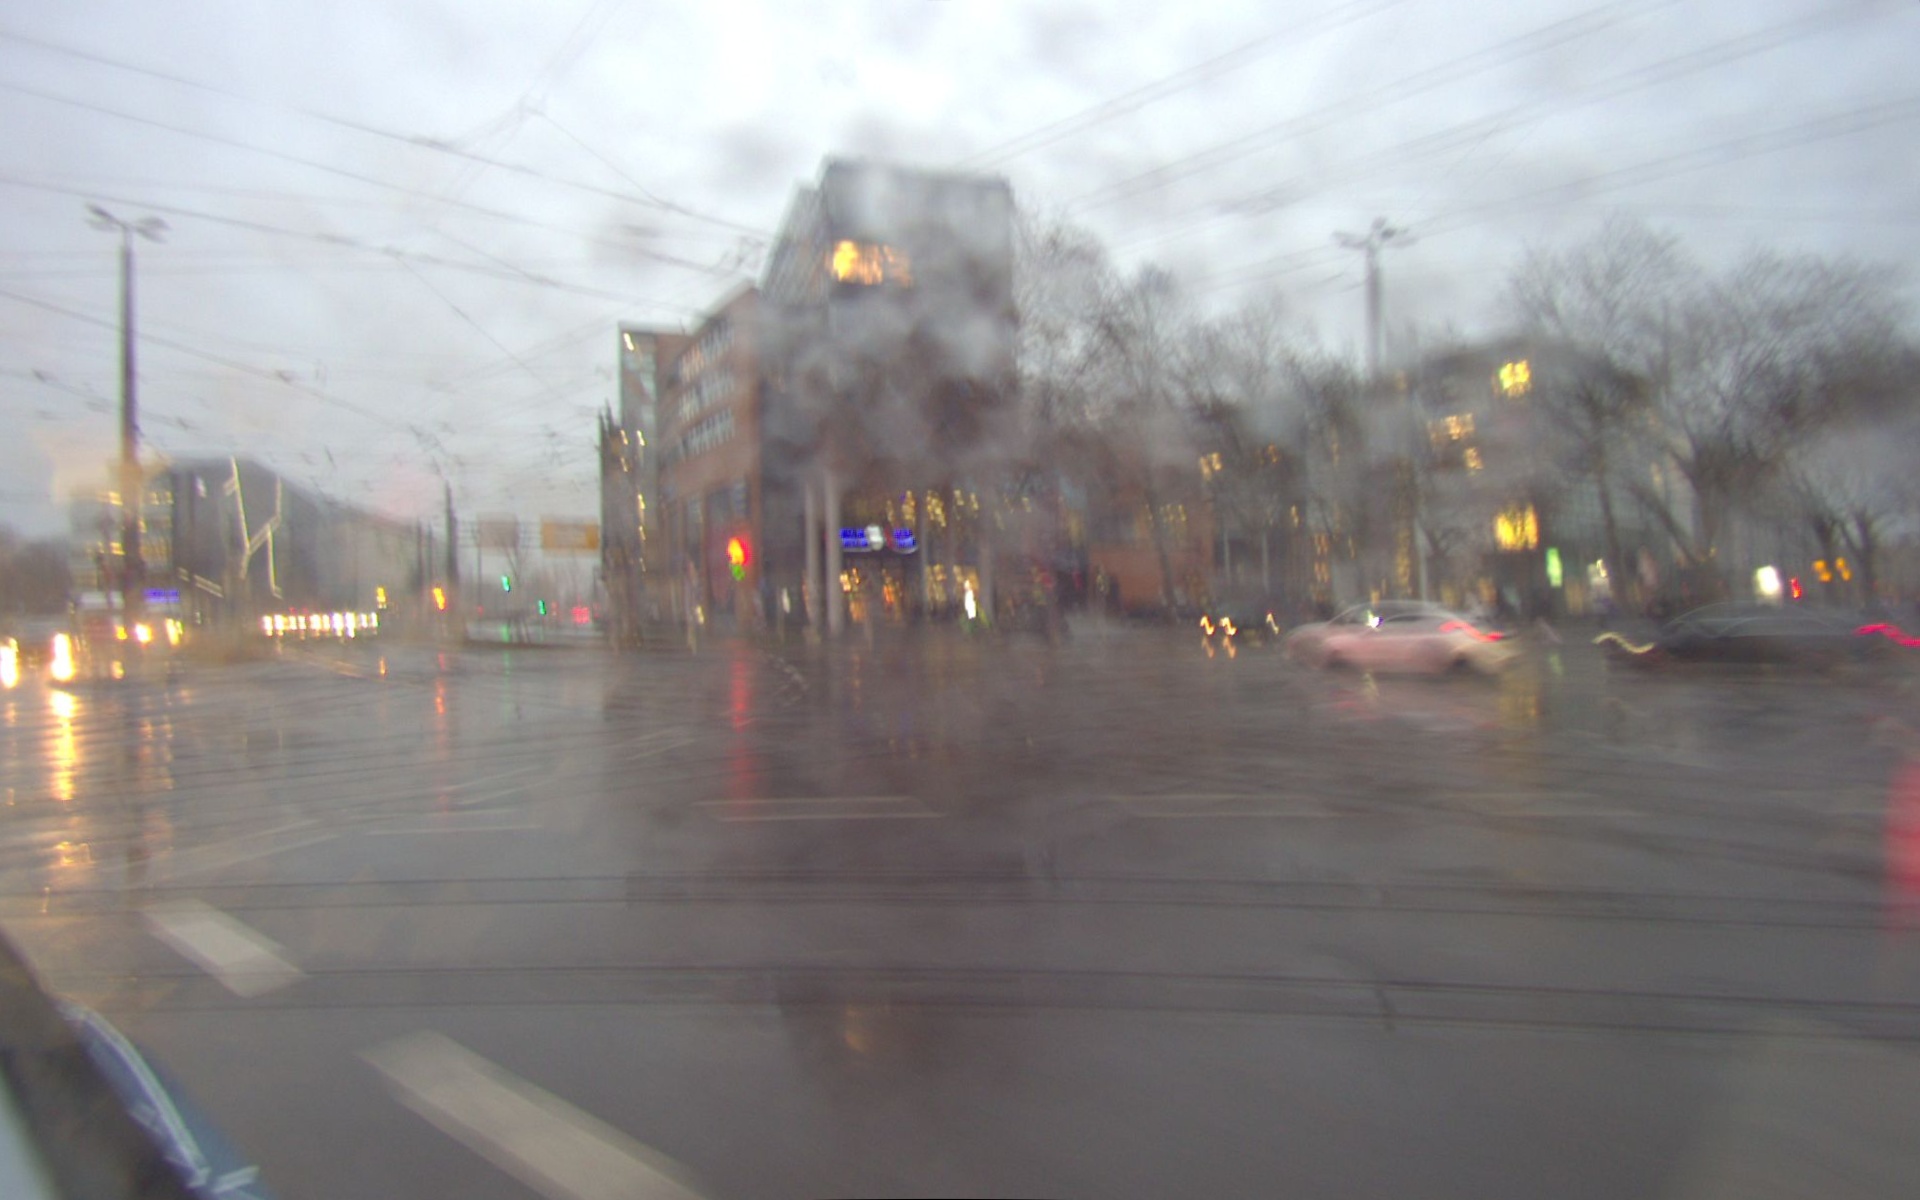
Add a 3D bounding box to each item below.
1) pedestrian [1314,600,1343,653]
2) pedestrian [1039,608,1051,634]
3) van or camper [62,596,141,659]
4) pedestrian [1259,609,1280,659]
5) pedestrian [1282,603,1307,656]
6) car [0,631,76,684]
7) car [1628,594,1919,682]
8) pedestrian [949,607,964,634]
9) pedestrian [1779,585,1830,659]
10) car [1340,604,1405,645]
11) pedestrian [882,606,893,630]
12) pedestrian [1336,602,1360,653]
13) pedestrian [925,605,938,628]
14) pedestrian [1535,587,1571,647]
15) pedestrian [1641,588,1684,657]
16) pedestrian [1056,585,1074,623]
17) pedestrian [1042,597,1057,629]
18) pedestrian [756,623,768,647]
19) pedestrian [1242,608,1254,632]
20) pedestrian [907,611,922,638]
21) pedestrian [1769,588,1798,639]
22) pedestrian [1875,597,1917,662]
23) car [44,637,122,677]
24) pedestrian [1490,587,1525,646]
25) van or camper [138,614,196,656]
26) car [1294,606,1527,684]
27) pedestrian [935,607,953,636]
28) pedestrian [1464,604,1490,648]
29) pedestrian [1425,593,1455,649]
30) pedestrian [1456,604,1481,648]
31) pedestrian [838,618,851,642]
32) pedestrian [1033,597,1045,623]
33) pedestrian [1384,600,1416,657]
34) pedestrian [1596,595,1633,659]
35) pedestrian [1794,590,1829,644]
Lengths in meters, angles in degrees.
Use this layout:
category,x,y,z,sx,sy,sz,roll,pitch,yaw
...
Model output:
category,x,y,z,sx,sy,sz,roll,pitch,yaw
pedestrian,14.365,1.018,39.488,0.695,2.029,0.761,0,-1,-20
pedestrian,5.686,1.415,68.024,0.643,1.764,0.447,0,-1,-36
van or camper,-38.783,1.216,45.868,2.028,2.567,5.900,-2,0,-34
pedestrian,12.826,1.392,41.956,0.700,2.029,0.774,-1,-1,12
pedestrian,12.956,1.150,39.184,0.756,2.029,0.700,-1,-1,30
car,-29.984,1.815,32.743,1.658,1.585,3.770,0,-1,-35
car,15.462,0.696,19.345,4.235,1.516,1.733,-2,-1,43
pedestrian,-0.248,1.329,65.194,0.715,1.721,0.696,0,-1,-27
pedestrian,23.520,0.605,28.188,0.786,2.029,0.761,0,-1,-20
car,22.826,1.330,55.948,4.016,2.153,1.922,1,-1,-44
pedestrian,-5.223,1.278,72.902,0.683,1.721,0.928,-1,-1,-8
pedestrian,15.228,1.075,39.759,0.520,1.973,0.670,0,-1,-23
pedestrian,-1.927,1.094,67.795,0.641,1.515,0.696,0,-2,-27
pedestrian,20.398,0.584,34.803,0.695,2.029,0.761,0,-1,-20
pedestrian,21.024,0.664,30.286,0.695,2.029,0.761,0,-1,-20
pedestrian,5.719,0.213,55.203,0.756,2.029,0.700,-1,-1,30
pedestrian,4.774,0.697,53.941,0.593,1.696,0.558,-2,-1,21
pedestrian,-10.765,1.894,54.979,0.439,1.274,0.497,-2,0,-40
pedestrian,19.939,1.390,70.109,0.588,1.696,0.562,0,-2,-40
pedestrian,-2.843,1.527,63.469,0.729,1.669,0.696,0,-2,-27
pedestrian,33.023,0.547,40.565,0.735,2.029,0.721,0,-1,-39
pedestrian,22.654,0.716,24.496,0.511,1.549,0.577,-1,-1,-27
car,-34.062,2.163,39.394,1.796,1.342,4.235,-2,0,-35
pedestrian,19.113,0.586,35.339,0.695,2.029,0.761,0,-1,-20
van or camper,-49.255,2.163,62.954,2.150,2.370,5.666,-2,0,-31
car,9.465,0.914,21.498,1.649,1.506,4.203,0,-1,-45
pedestrian,-1.023,1.366,64.750,0.762,1.860,0.925,0,-2,-25
pedestrian,18.153,0.913,35.546,0.511,1.549,0.577,-1,-1,-27
pedestrian,17.408,0.754,36.688,0.747,2.029,0.708,0,-1,-42
pedestrian,18.199,0.918,36.245,0.511,1.549,0.577,-1,-1,-27
pedestrian,-7.437,1.926,65.271,0.641,1.515,0.696,0,-2,-27
pedestrian,5.334,0.695,68.413,0.643,1.764,0.447,0,-1,-36
pedestrian,15.980,1.019,36.764,0.695,2.029,0.761,0,-1,-34
pedestrian,21.061,0.857,32.592,0.696,2.029,0.761,0,-1,-36
pedestrian,25.028,0.501,29.741,0.511,1.549,0.577,-1,-1,-27
